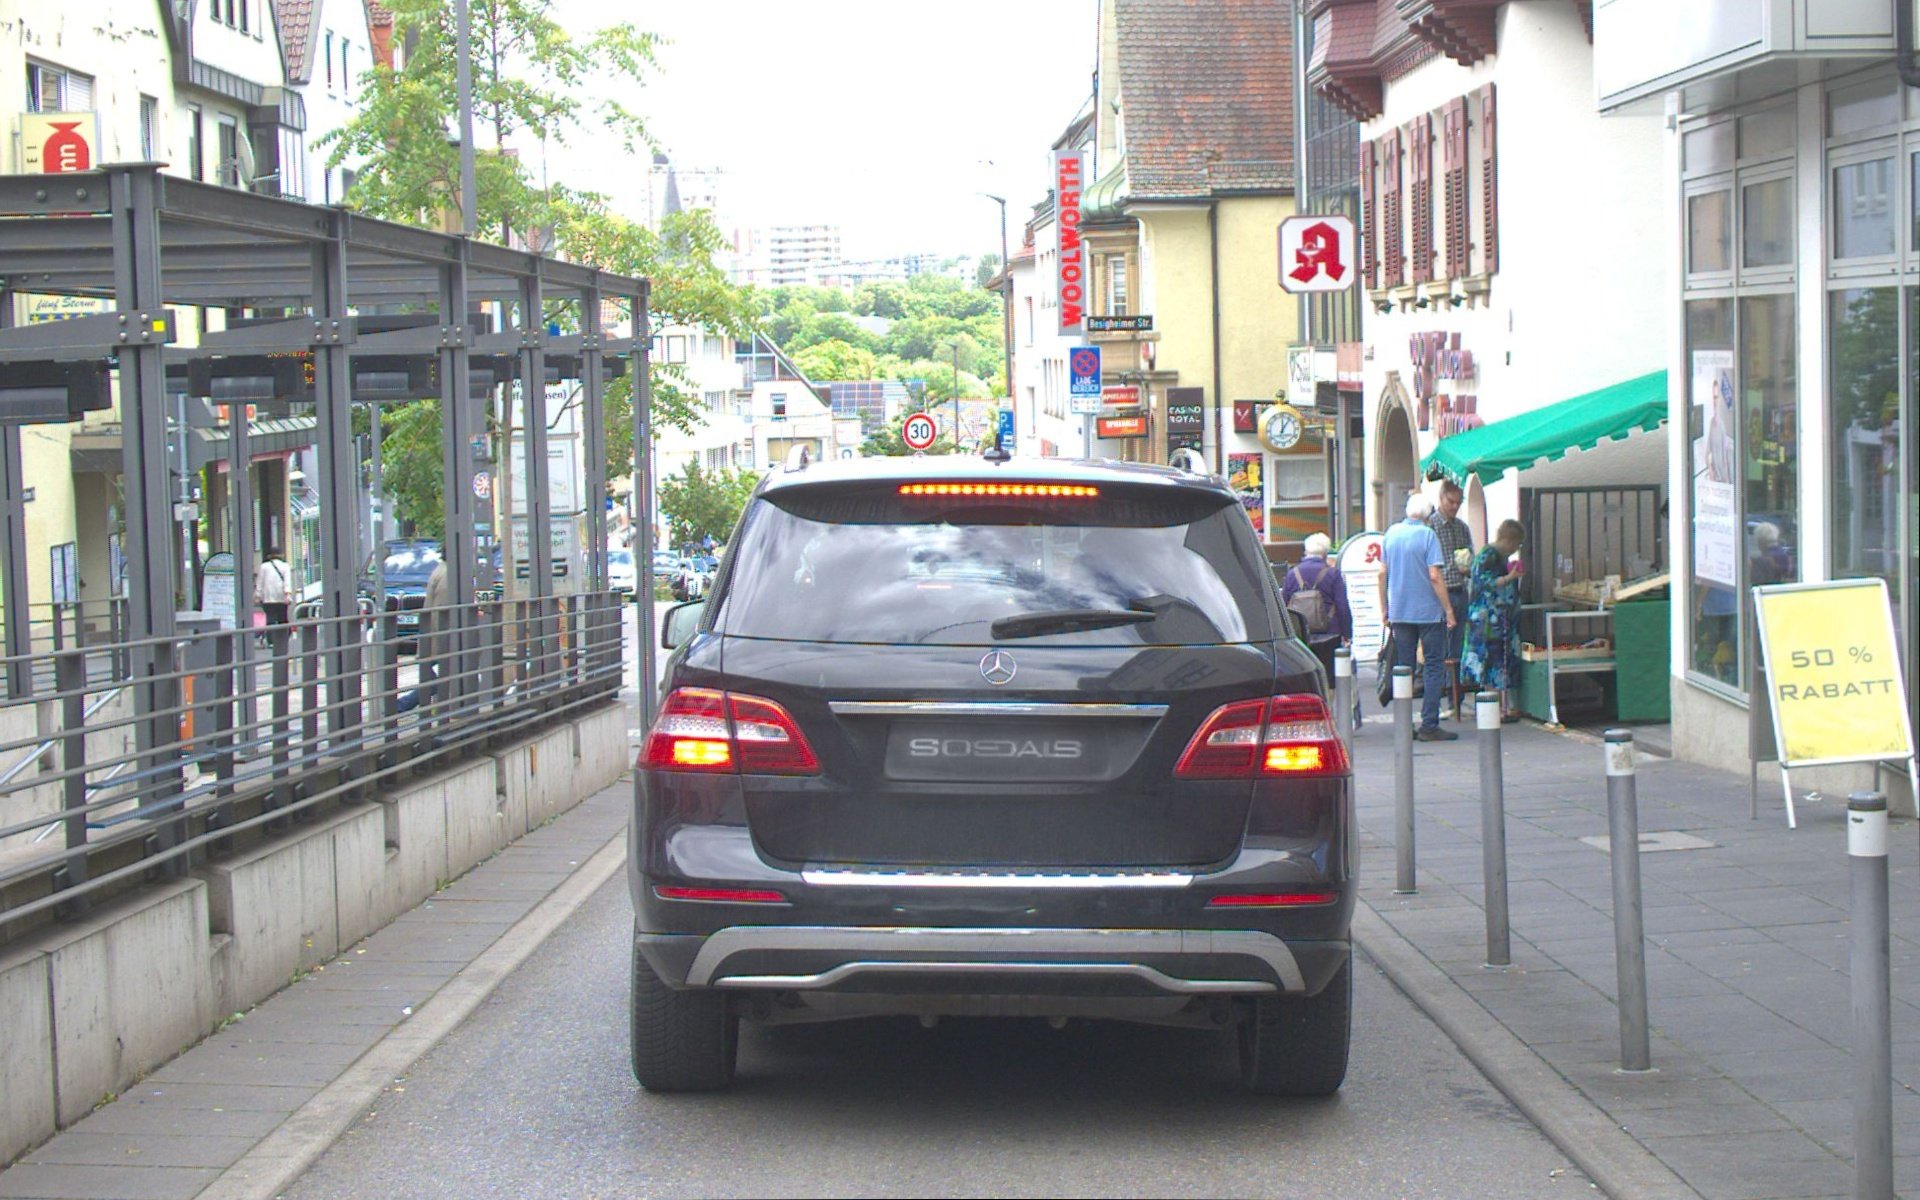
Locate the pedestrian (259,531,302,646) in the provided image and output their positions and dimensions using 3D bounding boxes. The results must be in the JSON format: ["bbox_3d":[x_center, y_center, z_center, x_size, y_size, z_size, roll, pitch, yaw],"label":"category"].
[{"bbox_3d":[-10.027,-0.170,50.751,0.513,1.683,0.541,1,1,-1],"label":"pedestrian"}]

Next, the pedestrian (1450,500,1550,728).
[{"bbox_3d":[4.054,0.097,25.839,0.573,1.683,0.566,-2,1,-6],"label":"pedestrian"}]

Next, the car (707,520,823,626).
[{"bbox_3d":[-3.252,-0.475,57.965,1.770,1.707,4.000,1,1,-1],"label":"car"}]

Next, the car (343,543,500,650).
[{"bbox_3d":[-7.963,-0.077,51.091,1.689,1.484,3.979,1,1,0],"label":"car"}]

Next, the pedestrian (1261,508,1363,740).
[{"bbox_3d":[2.592,0.170,25.347,0.621,1.683,0.566,1,1,-6],"label":"pedestrian"}]

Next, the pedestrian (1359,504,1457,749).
[{"bbox_3d":[3.205,0.180,24.607,0.542,1.720,0.528,-2,1,-6],"label":"pedestrian"}]

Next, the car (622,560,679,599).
[{"bbox_3d":[-9.284,-0.626,103.207,1.388,1.066,3.113,-2,1,0],"label":"car"}]

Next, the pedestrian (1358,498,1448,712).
[{"bbox_3d":[3.794,0.036,29.482,0.639,1.803,0.685,1,1,-1],"label":"pedestrian"}]

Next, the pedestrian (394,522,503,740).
[{"bbox_3d":[-4.001,0.234,26.946,0.765,1.683,0.727,1,1,-3],"label":"pedestrian"}]

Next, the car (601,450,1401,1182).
[{"bbox_3d":[0.029,0.487,10.251,1.900,1.741,4.001,1,1,-2],"label":"car"}]

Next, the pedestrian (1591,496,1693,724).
[{"bbox_3d":[5.151,0.069,25.978,0.573,1.683,0.566,-2,1,-6],"label":"pedestrian"}]

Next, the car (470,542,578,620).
[{"bbox_3d":[-8.652,-0.401,68.398,1.660,1.484,3.748,1,1,0],"label":"car"}]

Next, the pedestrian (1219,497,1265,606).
[{"bbox_3d":[4.434,-0.764,54.122,0.606,1.683,0.724,-2,1,-1],"label":"pedestrian"}]

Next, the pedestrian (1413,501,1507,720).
[{"bbox_3d":[3.890,0.074,26.784,0.573,1.683,0.566,1,1,-6],"label":"pedestrian"}]

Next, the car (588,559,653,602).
[{"bbox_3d":[-8.966,-0.535,91.051,1.388,1.066,3.113,-2,1,0],"label":"car"}]
